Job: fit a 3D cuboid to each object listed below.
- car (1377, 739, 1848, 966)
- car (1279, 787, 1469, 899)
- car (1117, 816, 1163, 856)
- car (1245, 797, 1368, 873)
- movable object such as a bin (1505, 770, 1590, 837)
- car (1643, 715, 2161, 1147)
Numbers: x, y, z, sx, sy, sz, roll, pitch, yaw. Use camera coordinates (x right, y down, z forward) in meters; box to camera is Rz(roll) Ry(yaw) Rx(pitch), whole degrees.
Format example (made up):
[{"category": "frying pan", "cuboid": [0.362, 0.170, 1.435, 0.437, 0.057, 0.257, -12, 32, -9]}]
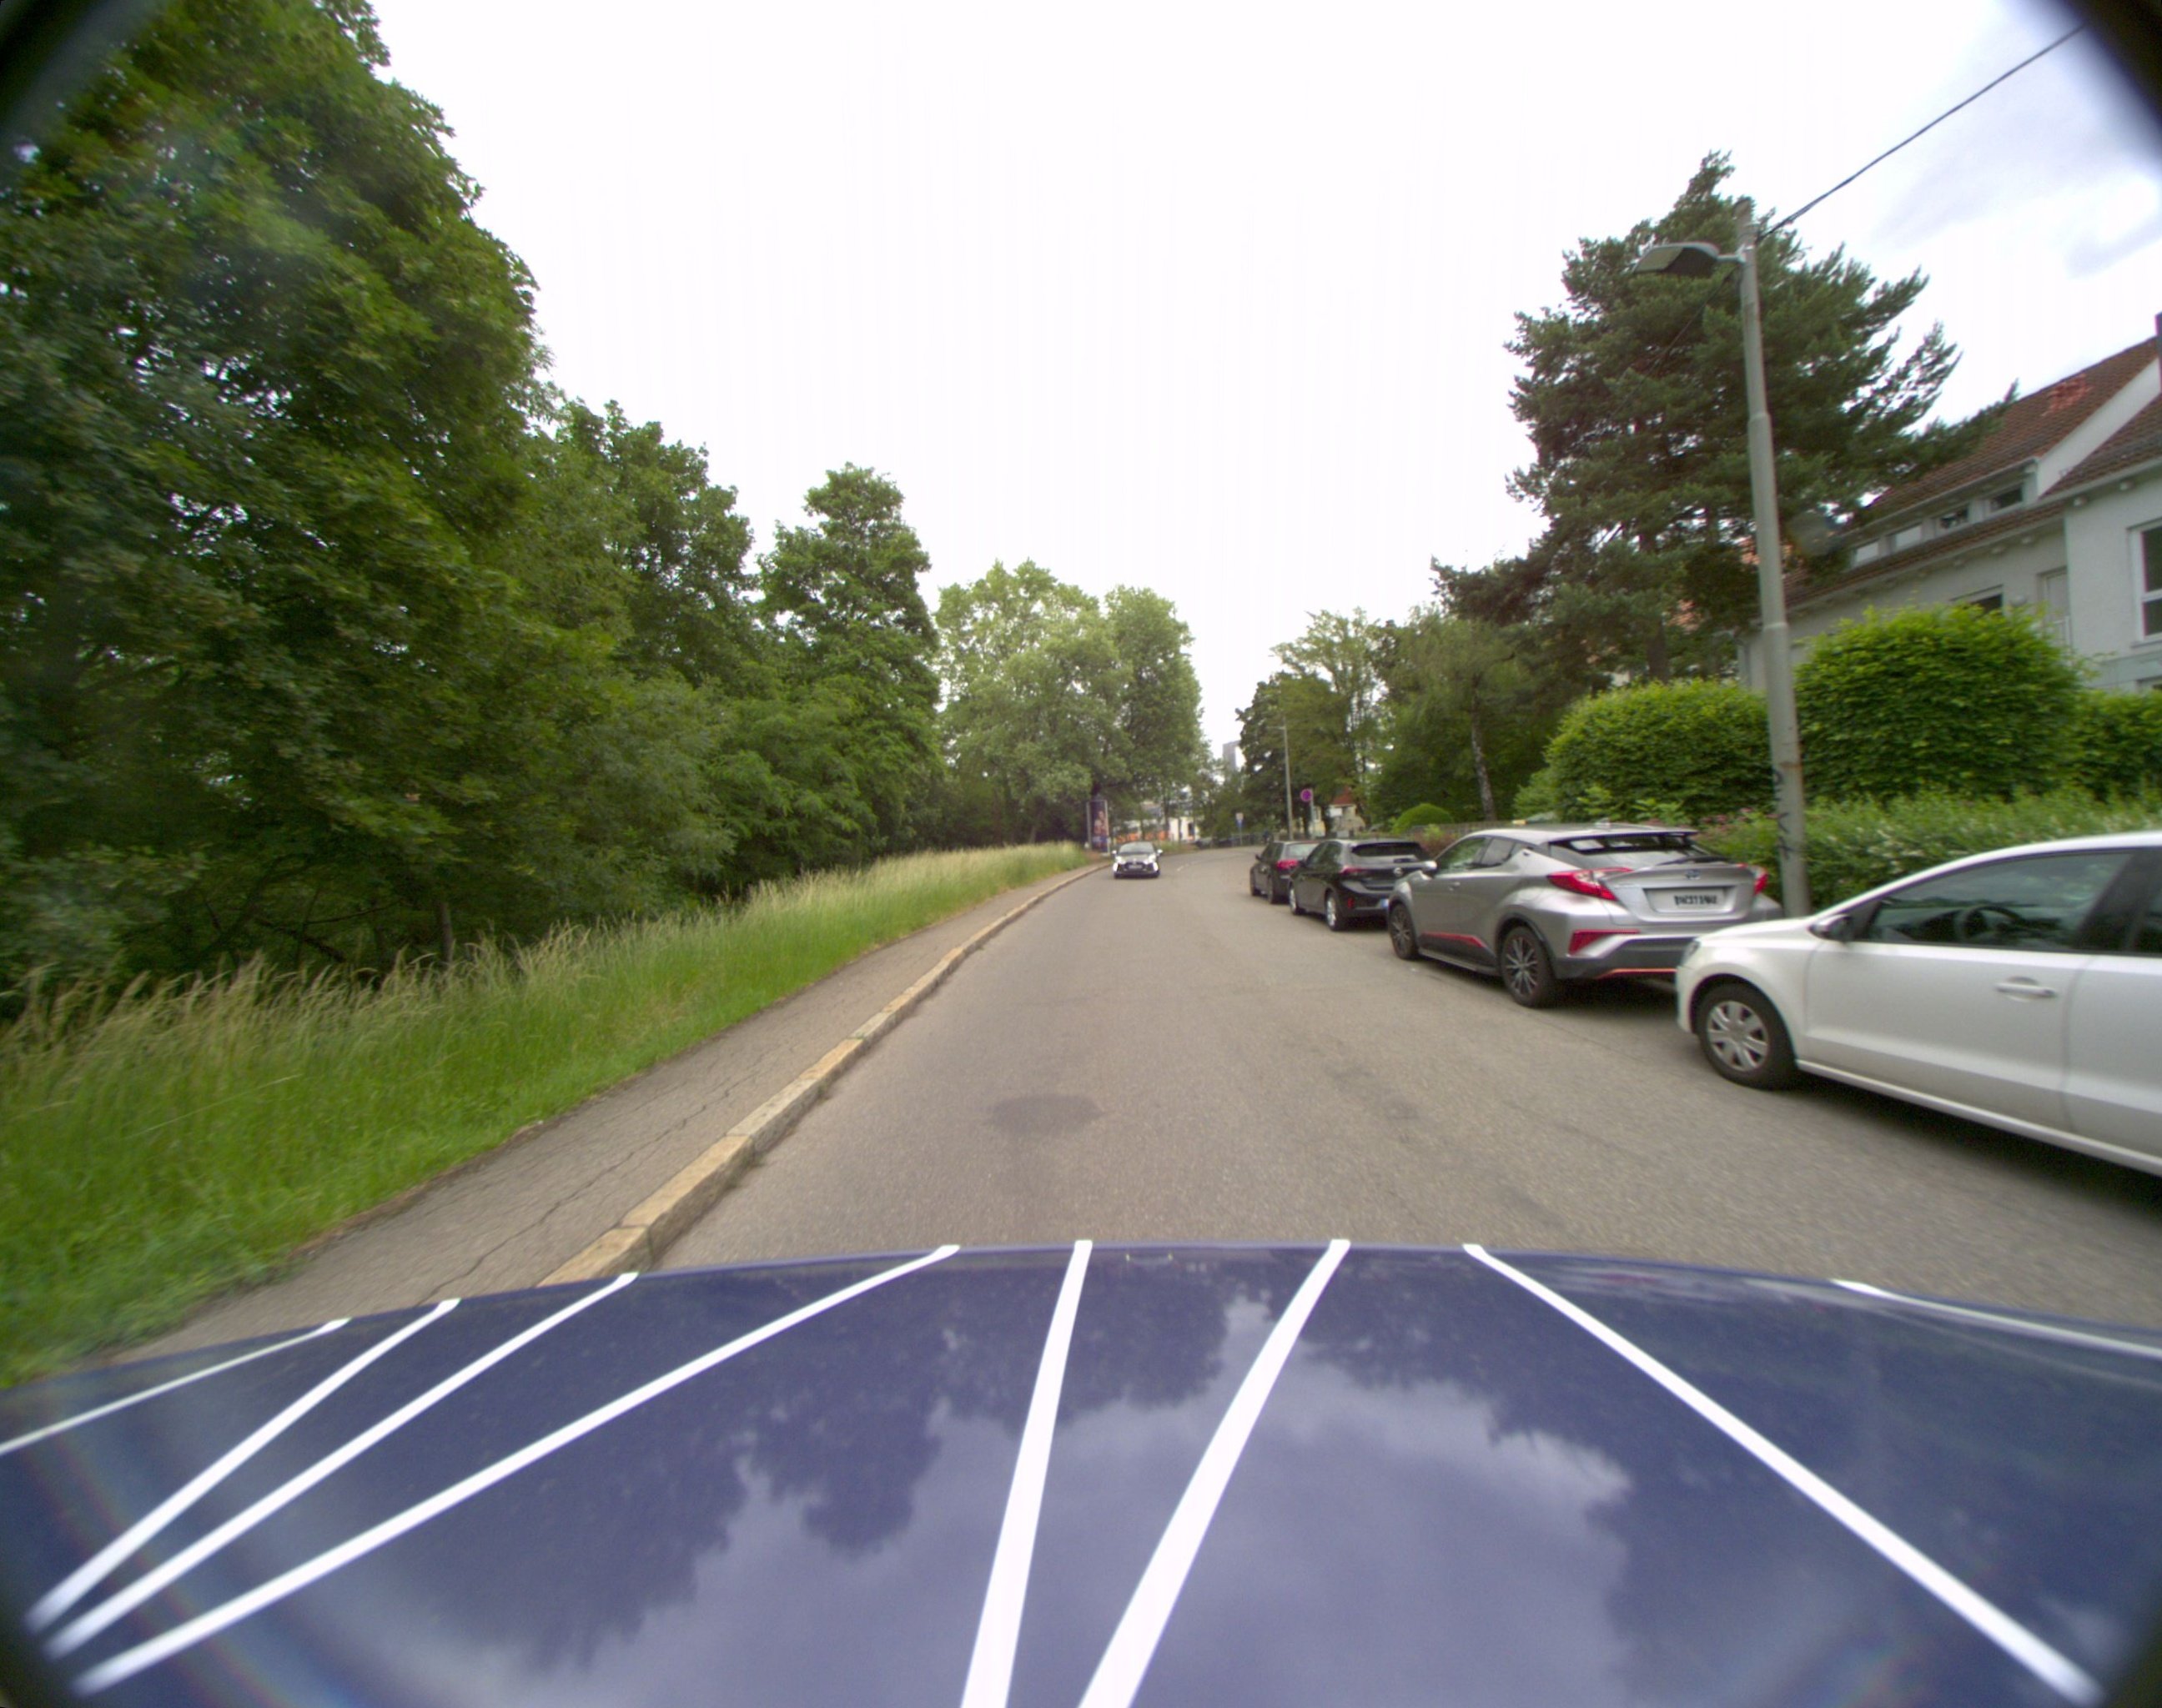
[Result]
[{"category": "car", "cuboid": [4.515, -0.076, 7.367, 1.765, 1.472, 4.126, -4, 2, 2]}, {"category": "car", "cuboid": [4.727, -0.255, 12.973, 1.653, 1.434, 4.331, -6, 2, 3]}, {"category": "car", "cuboid": [2.347, -0.703, 30.237, 1.646, 1.390, 3.782, -3, 1, 5]}, {"category": "car", "cuboid": [5.127, -0.463, 17.906, 1.739, 1.410, 4.503, -5, 2, 4]}, {"category": "movable object such as a bin", "cuboid": [11.130, -1.177, 18.190, 1.095, 1.458, 1.453, -3, 1, 1]}, {"category": "car", "cuboid": [4.472, 0.185, 2.894, 1.627, 1.472, 3.926, -6, 2, -1]}]
